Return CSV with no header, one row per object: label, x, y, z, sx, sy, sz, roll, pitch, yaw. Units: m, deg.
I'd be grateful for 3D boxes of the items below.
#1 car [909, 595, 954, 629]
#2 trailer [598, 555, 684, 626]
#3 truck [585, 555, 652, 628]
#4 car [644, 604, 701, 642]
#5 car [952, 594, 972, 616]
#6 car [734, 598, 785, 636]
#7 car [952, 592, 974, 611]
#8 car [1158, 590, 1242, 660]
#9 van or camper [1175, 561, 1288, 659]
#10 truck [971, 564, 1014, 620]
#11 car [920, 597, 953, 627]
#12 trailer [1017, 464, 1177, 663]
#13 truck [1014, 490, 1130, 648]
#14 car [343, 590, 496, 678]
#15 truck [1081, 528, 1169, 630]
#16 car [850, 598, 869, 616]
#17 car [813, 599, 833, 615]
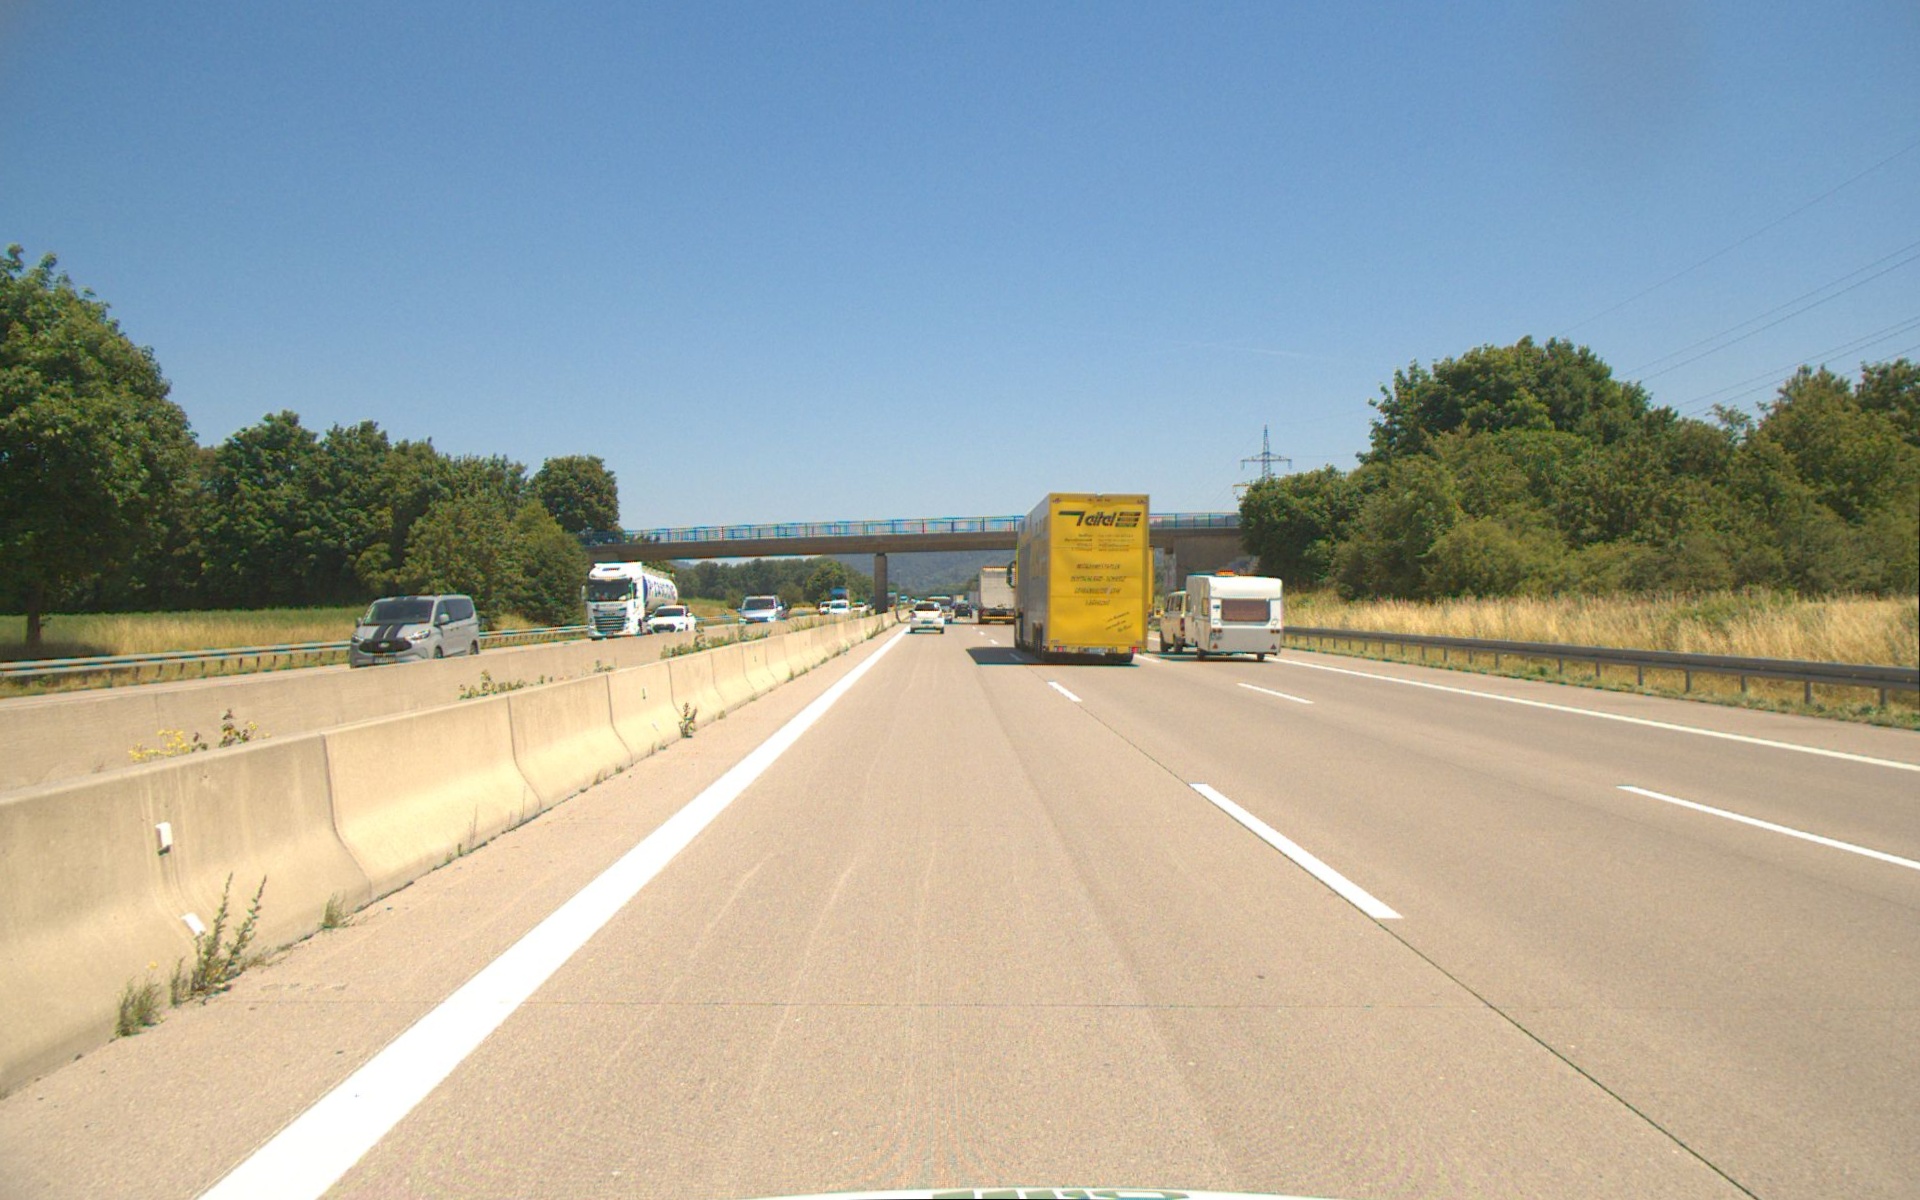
car,-1.367,0.566,81.140,2.064,1.563,4.122,1,0,0
trailer,-17.758,-0.517,92.993,2.521,3.694,12.853,1,0,-1
truck,-17.649,-0.440,85.720,2.549,3.651,4.718,1,0,-1
car,-13.652,1.060,78.737,1.884,1.639,4.684,-2,0,-1
car,0.186,0.482,163.694,1.953,2.049,3.999,1,0,-1
car,-9.902,0.819,82.101,1.953,1.765,5.113,-2,0,-1
car,0.311,0.141,175.901,2.177,2.049,3.999,1,0,-1
car,7.423,0.737,51.543,1.953,2.049,3.999,1,0,-1
van or camper,7.587,0.244,46.773,2.179,2.575,5.430,1,0,-1
truck,2.292,-0.549,118.037,2.763,3.827,6.282,1,0,-1
car,-1.666,0.831,118.770,2.208,2.049,4.297,1,0,0
trailer,3.468,-0.898,45.823,3.150,4.643,13.455,1,0,0
truck,3.433,-0.931,52.130,3.150,4.643,5.835,1,0,-1
car,-13.321,0.784,41.176,1.953,1.973,5.688,-2,0,-1
truck,7.507,-0.924,76.542,2.938,4.390,9.682,1,0,-1
car,-11.101,0.744,182.639,1.828,1.871,4.788,-1,0,-1
car,-15.622,0.789,188.651,1.953,1.838,3.999,1,0,-1
